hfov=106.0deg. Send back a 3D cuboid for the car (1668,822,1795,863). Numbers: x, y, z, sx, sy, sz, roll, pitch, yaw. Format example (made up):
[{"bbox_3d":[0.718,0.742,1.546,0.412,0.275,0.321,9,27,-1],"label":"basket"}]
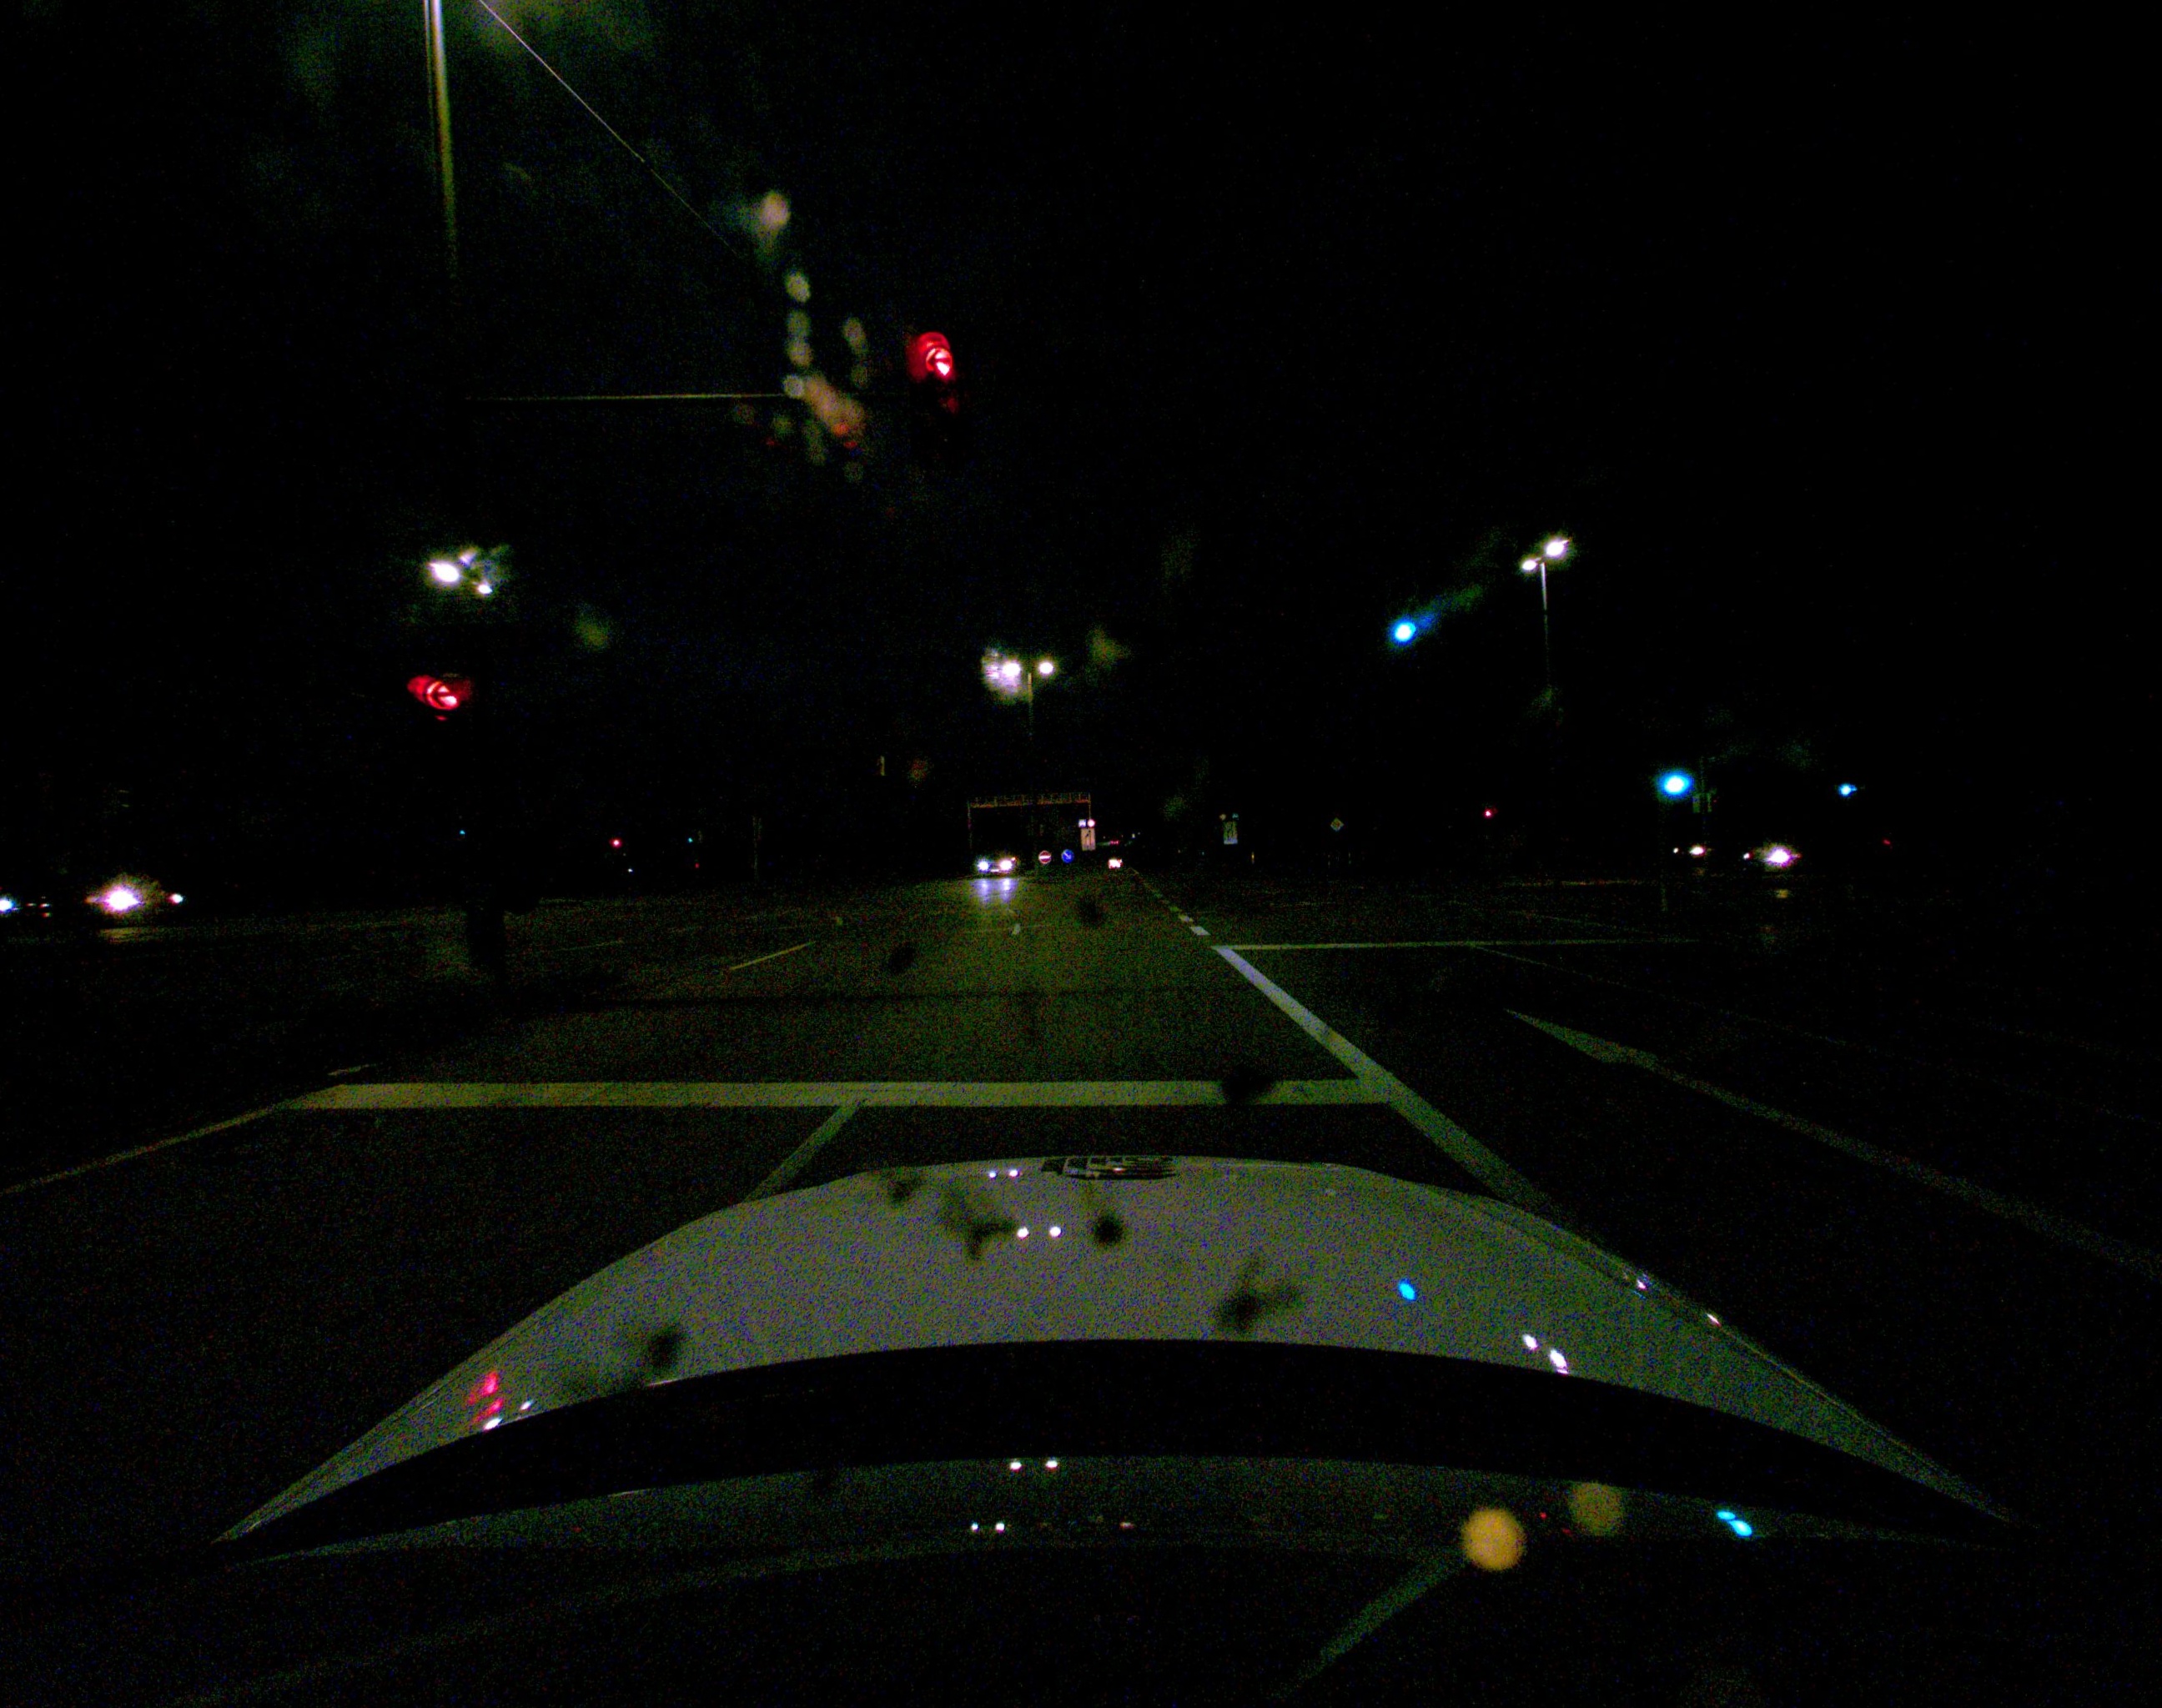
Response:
[{"bbox_3d":[27.890,-0.486,34.990,3.976,1.569,1.899,-2,0,-2],"label":"car"}]

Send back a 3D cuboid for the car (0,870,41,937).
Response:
[{"bbox_3d":[-27.267,1.226,18.775,4.299,1.537,1.729,-2,0,0],"label":"car"}]

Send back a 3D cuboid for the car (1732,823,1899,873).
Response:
[{"bbox_3d":[25.425,-0.208,28.281,4.062,1.569,2.001,-1,0,-2],"label":"car"}]

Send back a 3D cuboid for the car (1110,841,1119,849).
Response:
[{"bbox_3d":[7.840,-2.138,190.934,1.999,1.611,3.849,-2,-1,4],"label":"car"}]

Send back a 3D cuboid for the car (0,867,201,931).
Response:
[{"bbox_3d":[-26.980,1.202,22.175,4.029,1.537,1.728,-2,0,-2],"label":"car"}]

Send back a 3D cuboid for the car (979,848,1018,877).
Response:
[{"bbox_3d":[-5.153,0.481,51.333,1.987,1.698,4.001,-1,0,1],"label":"car"}]
